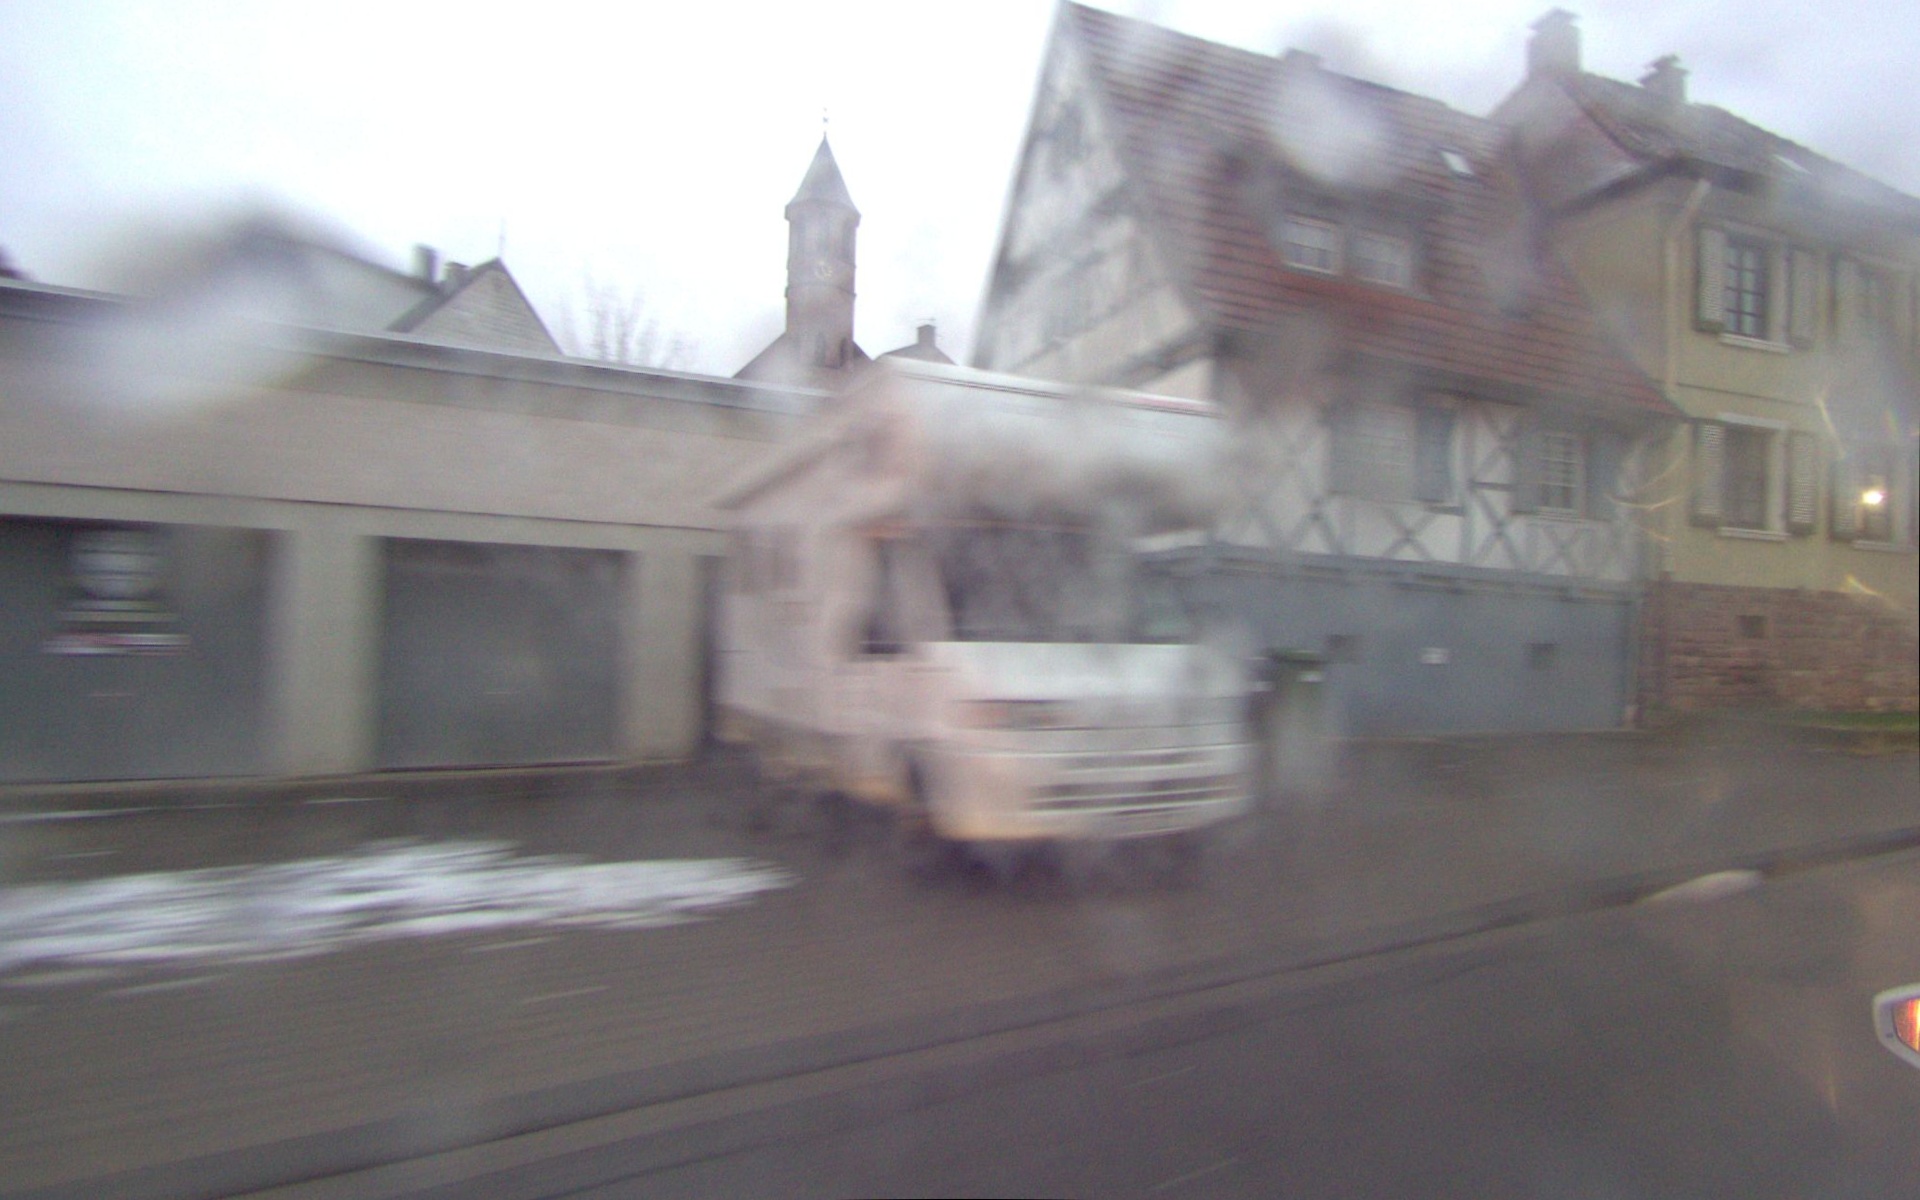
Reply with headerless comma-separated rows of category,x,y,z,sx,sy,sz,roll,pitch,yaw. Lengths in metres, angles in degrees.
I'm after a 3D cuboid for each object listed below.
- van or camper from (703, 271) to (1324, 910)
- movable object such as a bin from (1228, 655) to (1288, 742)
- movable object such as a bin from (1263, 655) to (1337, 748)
van or camper,-0.276,0.127,7.909,2.292,2.980,6.042,1,-4,-25
movable object such as a bin,3.449,1.133,11.640,0.494,0.960,0.456,1,-1,-19
movable object such as a bin,3.994,1.174,11.819,0.571,1.034,0.616,1,-1,-19
